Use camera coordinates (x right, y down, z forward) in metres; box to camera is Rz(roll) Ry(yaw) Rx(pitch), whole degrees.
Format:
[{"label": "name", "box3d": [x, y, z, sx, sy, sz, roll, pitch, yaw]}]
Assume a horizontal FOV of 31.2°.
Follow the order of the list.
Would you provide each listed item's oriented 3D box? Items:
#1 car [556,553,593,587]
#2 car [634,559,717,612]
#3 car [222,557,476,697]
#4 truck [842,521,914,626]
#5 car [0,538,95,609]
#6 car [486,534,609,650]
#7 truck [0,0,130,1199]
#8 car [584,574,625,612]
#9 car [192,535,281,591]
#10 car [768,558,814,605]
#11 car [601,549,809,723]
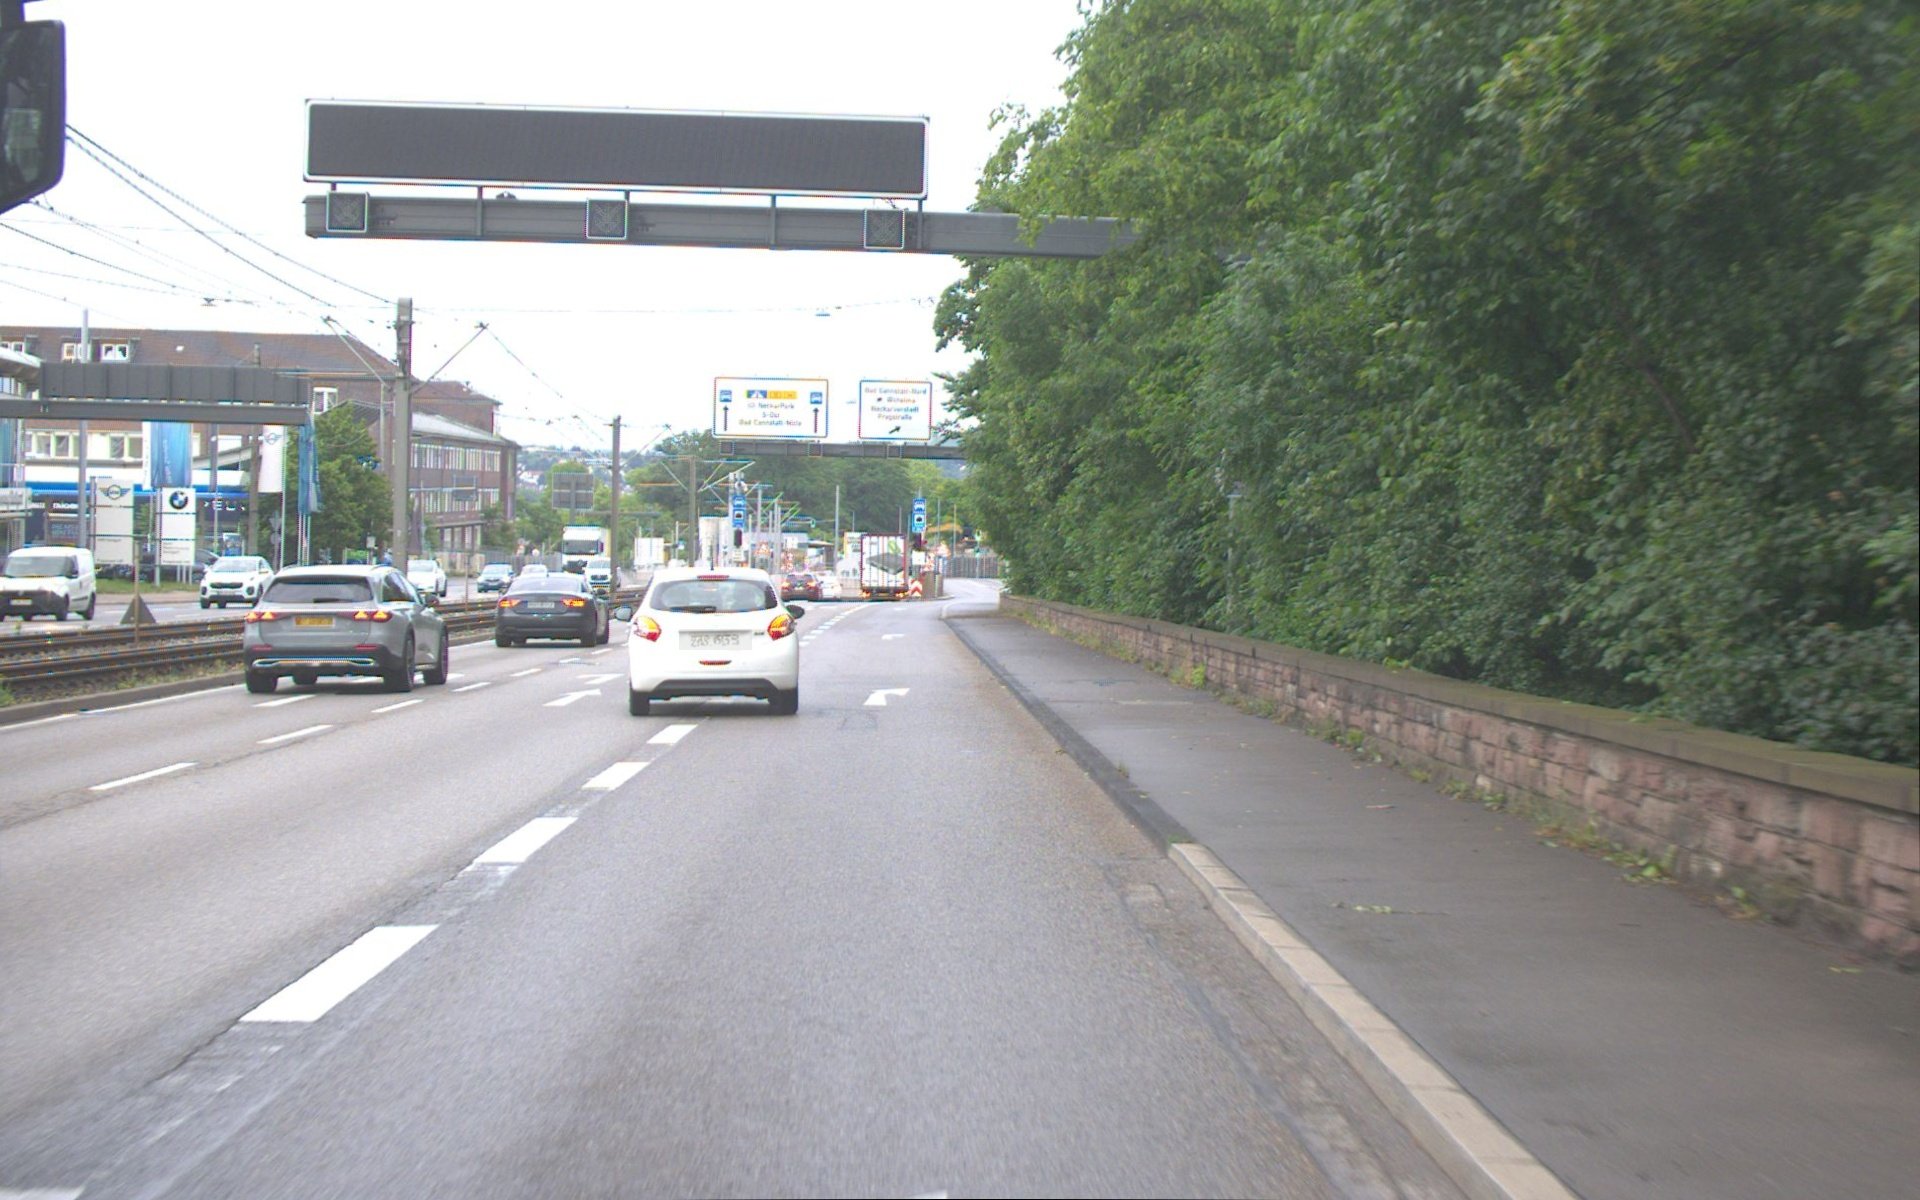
[{"label": "car", "box3d": [-25.634, -1.992, 228.738, 1.993, 2.007, 4.000, 2, -3, -1]}, {"label": "car", "box3d": [-8.583, -0.429, 104.027, 1.994, 1.570, 4.000, 0, 0, 3]}, {"label": "car", "box3d": [-7.209, 0.288, 40.955, 1.821, 1.560, 4.091, -1, 0, 7]}, {"label": "truck", "box3d": [-4.716, -1.481, 200.757, 3.465, 5.383, 12.049, 2, -3, 1]}, {"label": "car", "box3d": [-22.733, -0.640, 84.401, 1.993, 1.656, 4.000, 2, 0, -1]}, {"label": "car", "box3d": [-7.576, -0.172, 63.406, 1.721, 1.884, 3.536, 1, 4, 2]}, {"label": "truck", "box3d": [-3.587, -0.677, 5.533, 2.762, 4.183, 6.784, 0, 1, 1]}, {"label": "car", "box3d": [-20.900, -0.414, 202.338, 1.993, 2.007, 4.000, 2, -3, -1]}, {"label": "car", "box3d": [-22.989, -1.154, 109.374, 1.993, 1.656, 4.000, 2, 0, -1]}, {"label": "car", "box3d": [-8.119, -0.886, 165.479, 1.993, 2.007, 4.000, 2, -3, -1]}, {"label": "car", "box3d": [-2.570, 0.323, 35.269, 1.955, 1.483, 4.001, 2, 3, -3]}]
